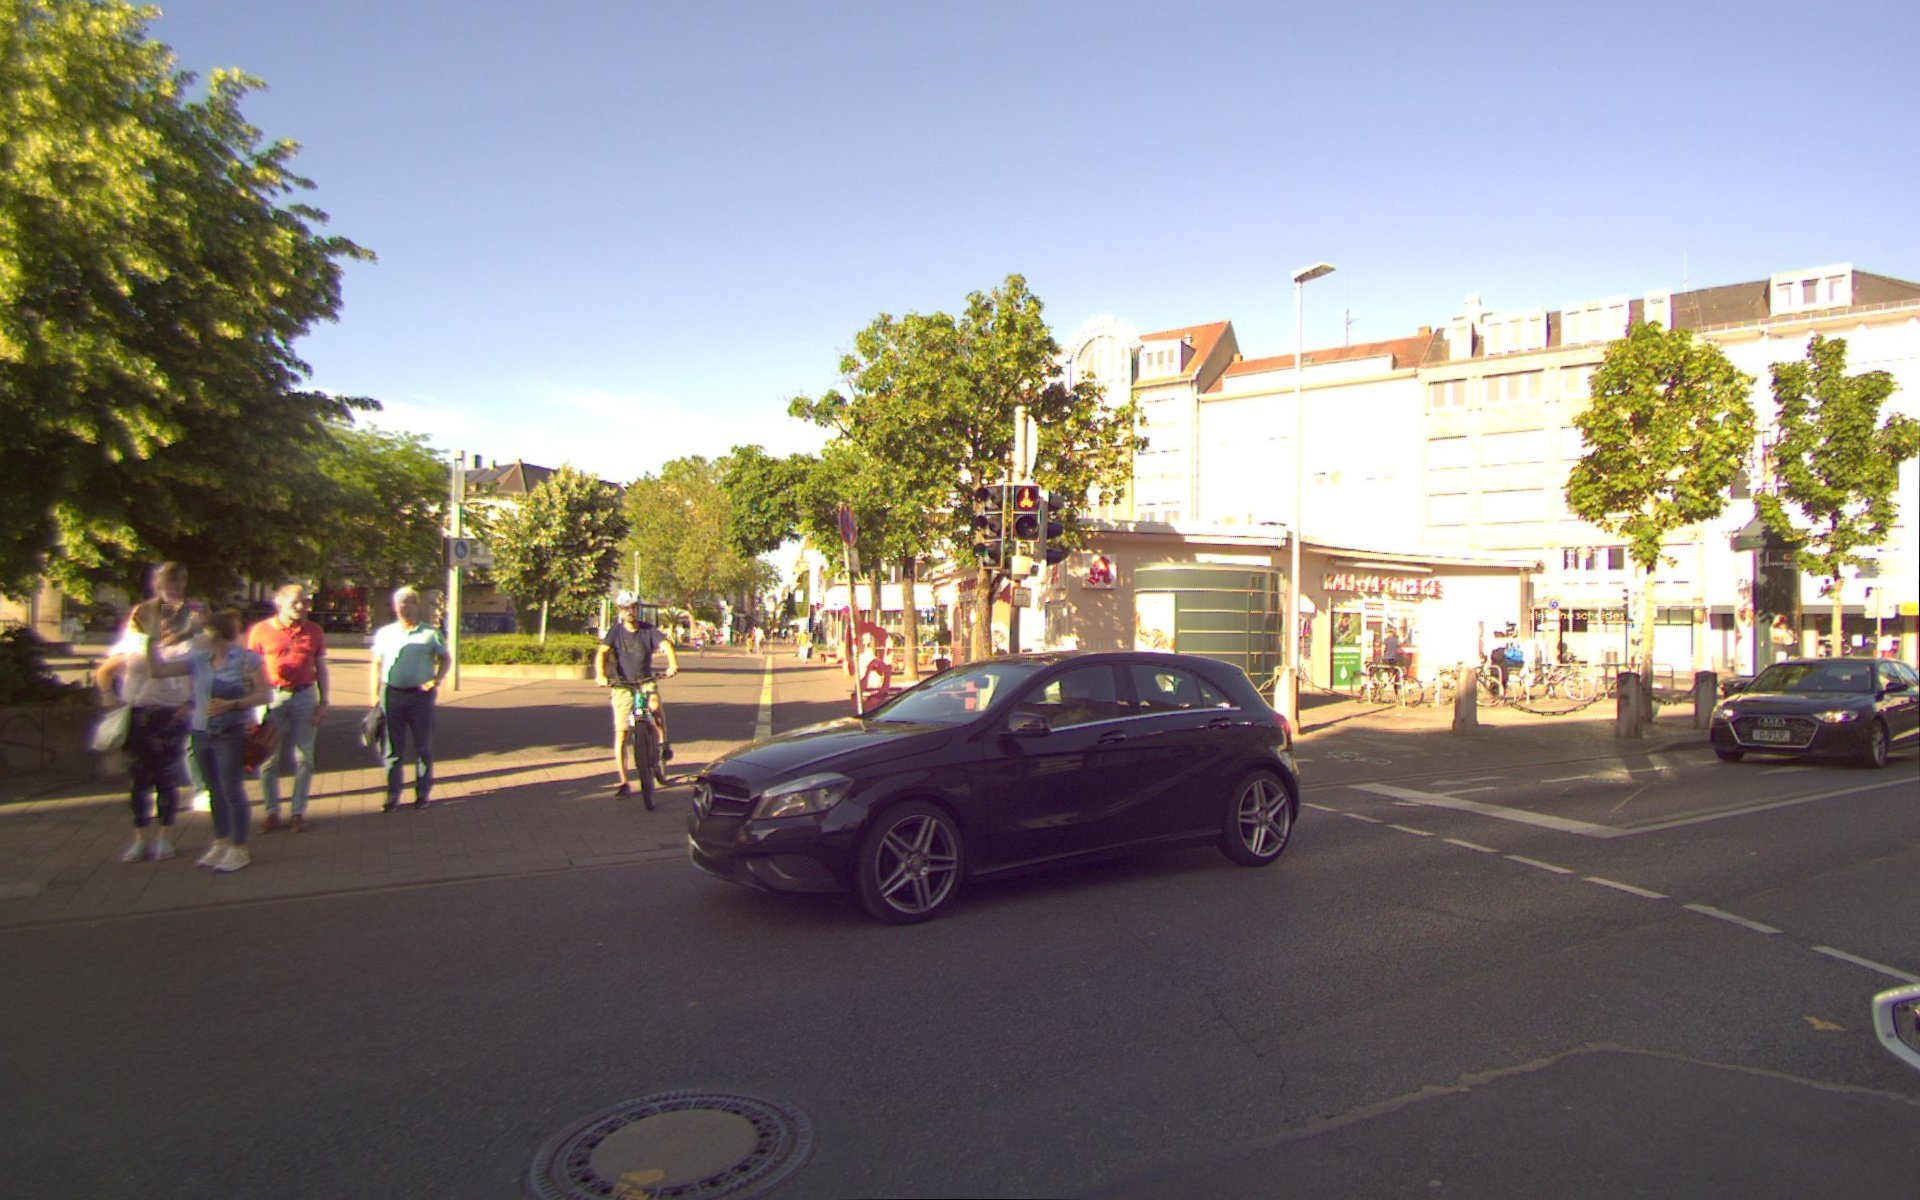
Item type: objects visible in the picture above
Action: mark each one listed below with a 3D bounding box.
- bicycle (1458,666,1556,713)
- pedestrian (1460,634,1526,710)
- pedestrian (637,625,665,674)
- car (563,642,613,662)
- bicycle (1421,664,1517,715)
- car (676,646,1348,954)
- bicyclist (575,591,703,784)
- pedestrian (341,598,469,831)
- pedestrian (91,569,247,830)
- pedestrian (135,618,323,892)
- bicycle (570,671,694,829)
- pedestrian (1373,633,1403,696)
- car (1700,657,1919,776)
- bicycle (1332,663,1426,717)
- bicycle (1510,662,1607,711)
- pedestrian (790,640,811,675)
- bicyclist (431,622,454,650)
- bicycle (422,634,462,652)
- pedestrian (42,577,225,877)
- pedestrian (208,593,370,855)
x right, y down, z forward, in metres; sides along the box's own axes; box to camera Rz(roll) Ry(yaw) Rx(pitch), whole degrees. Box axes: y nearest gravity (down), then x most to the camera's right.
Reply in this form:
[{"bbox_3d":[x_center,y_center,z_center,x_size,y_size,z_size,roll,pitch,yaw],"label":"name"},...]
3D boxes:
[{"bbox_3d":[13.018,2.104,23.979,0.874,1.015,2.012,1,-2,-17],"label":"bicycle"},{"bbox_3d":[12.559,1.675,23.685,0.888,1.720,1.082,1,-1,-17],"label":"pedestrian"},{"bbox_3d":[-10.411,1.661,33.823,0.859,1.616,1.072,1,-1,-18],"label":"pedestrian"},{"bbox_3d":[-34.553,4.811,93.396,1.967,1.821,3.988,-2,-3,35],"label":"car"},{"bbox_3d":[11.283,1.957,22.326,0.754,1.015,1.880,1,-2,-23],"label":"bicycle"},{"bbox_3d":[0.457,1.078,6.644,4.208,1.441,1.740,2,-6,-32],"label":"car"},{"bbox_3d":[-2.912,0.778,9.213,0.976,1.670,0.804,1,-1,-10],"label":"bicyclist"},{"bbox_3d":[-4.663,0.923,8.445,0.581,1.835,0.779,-1,-2,44],"label":"pedestrian"},{"bbox_3d":[-6.210,0.759,7.931,0.772,1.943,0.606,1,-2,-21],"label":"pedestrian"},{"bbox_3d":[-4.768,0.977,6.602,0.683,1.695,0.688,0,-2,0],"label":"pedestrian"},{"bbox_3d":[-2.912,1.280,9.130,0.750,1.086,2.172,1,0,-10],"label":"bicycle"},{"bbox_3d":[11.986,1.808,28.145,0.604,1.731,0.516,2,-3,-32],"label":"pedestrian"},{"bbox_3d":[12.131,1.520,13.916,3.998,1.415,1.642,2,-5,-32],"label":"car"},{"bbox_3d":[8.886,1.894,21.386,0.754,1.015,1.880,1,-2,-23],"label":"bicycle"},{"bbox_3d":[14.958,2.136,25.155,0.745,1.102,1.979,1,-2,-30],"label":"bicycle"},{"bbox_3d":[-7.382,2.662,46.636,0.863,1.606,1.158,1,-2,-6],"label":"pedestrian"},{"bbox_3d":[-25.577,1.762,49.656,0.427,1.363,0.910,0,-2,36],"label":"bicyclist"},{"bbox_3d":[-25.593,2.122,49.632,0.516,0.882,1.707,0,-2,36],"label":"bicycle"},{"bbox_3d":[-5.442,0.808,6.653,0.612,1.882,0.652,0,-2,0],"label":"pedestrian"},{"bbox_3d":[-4.999,0.885,7.526,0.577,1.835,0.784,0,-2,14],"label":"pedestrian"}]
